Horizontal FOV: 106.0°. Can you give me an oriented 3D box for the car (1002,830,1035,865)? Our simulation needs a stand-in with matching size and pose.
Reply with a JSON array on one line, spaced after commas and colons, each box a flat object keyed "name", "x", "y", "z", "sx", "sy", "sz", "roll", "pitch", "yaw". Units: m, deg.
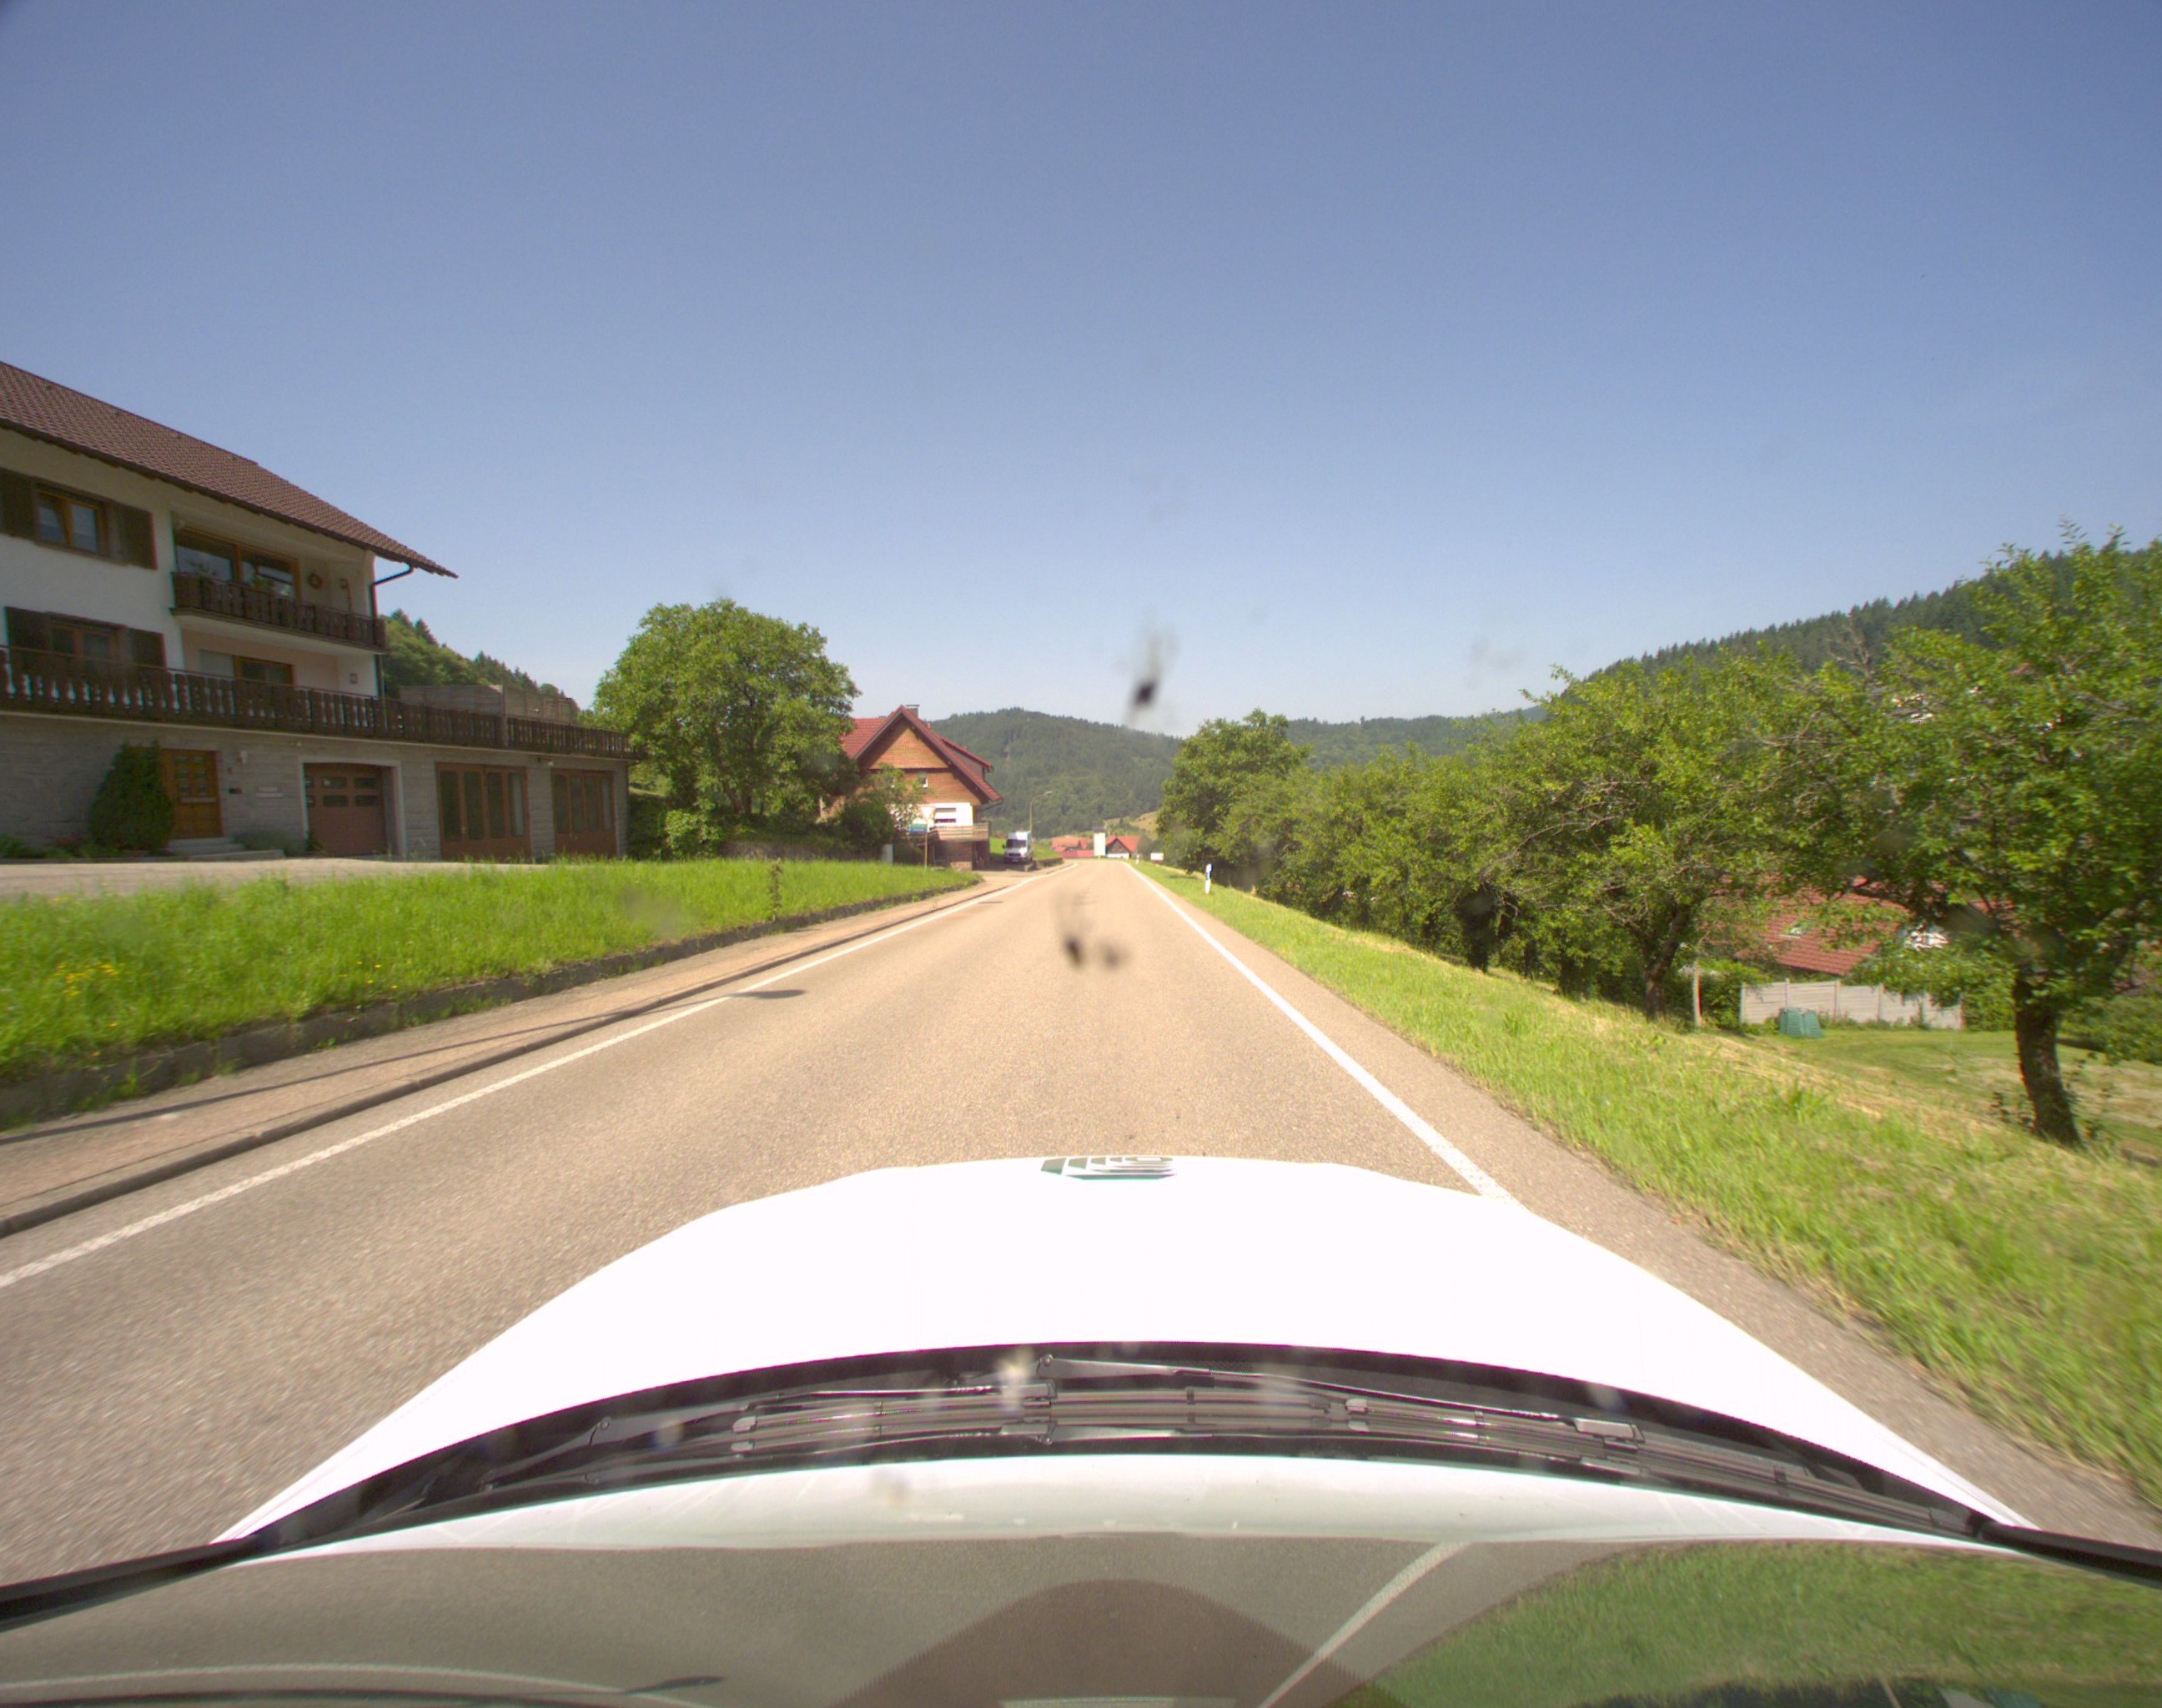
[{"name": "car", "x": -5.316, "y": -0.640, "z": 70.115, "sx": 2.060, "sy": 2.688, "sz": 7.178, "roll": -1, "pitch": 3, "yaw": 1}]
